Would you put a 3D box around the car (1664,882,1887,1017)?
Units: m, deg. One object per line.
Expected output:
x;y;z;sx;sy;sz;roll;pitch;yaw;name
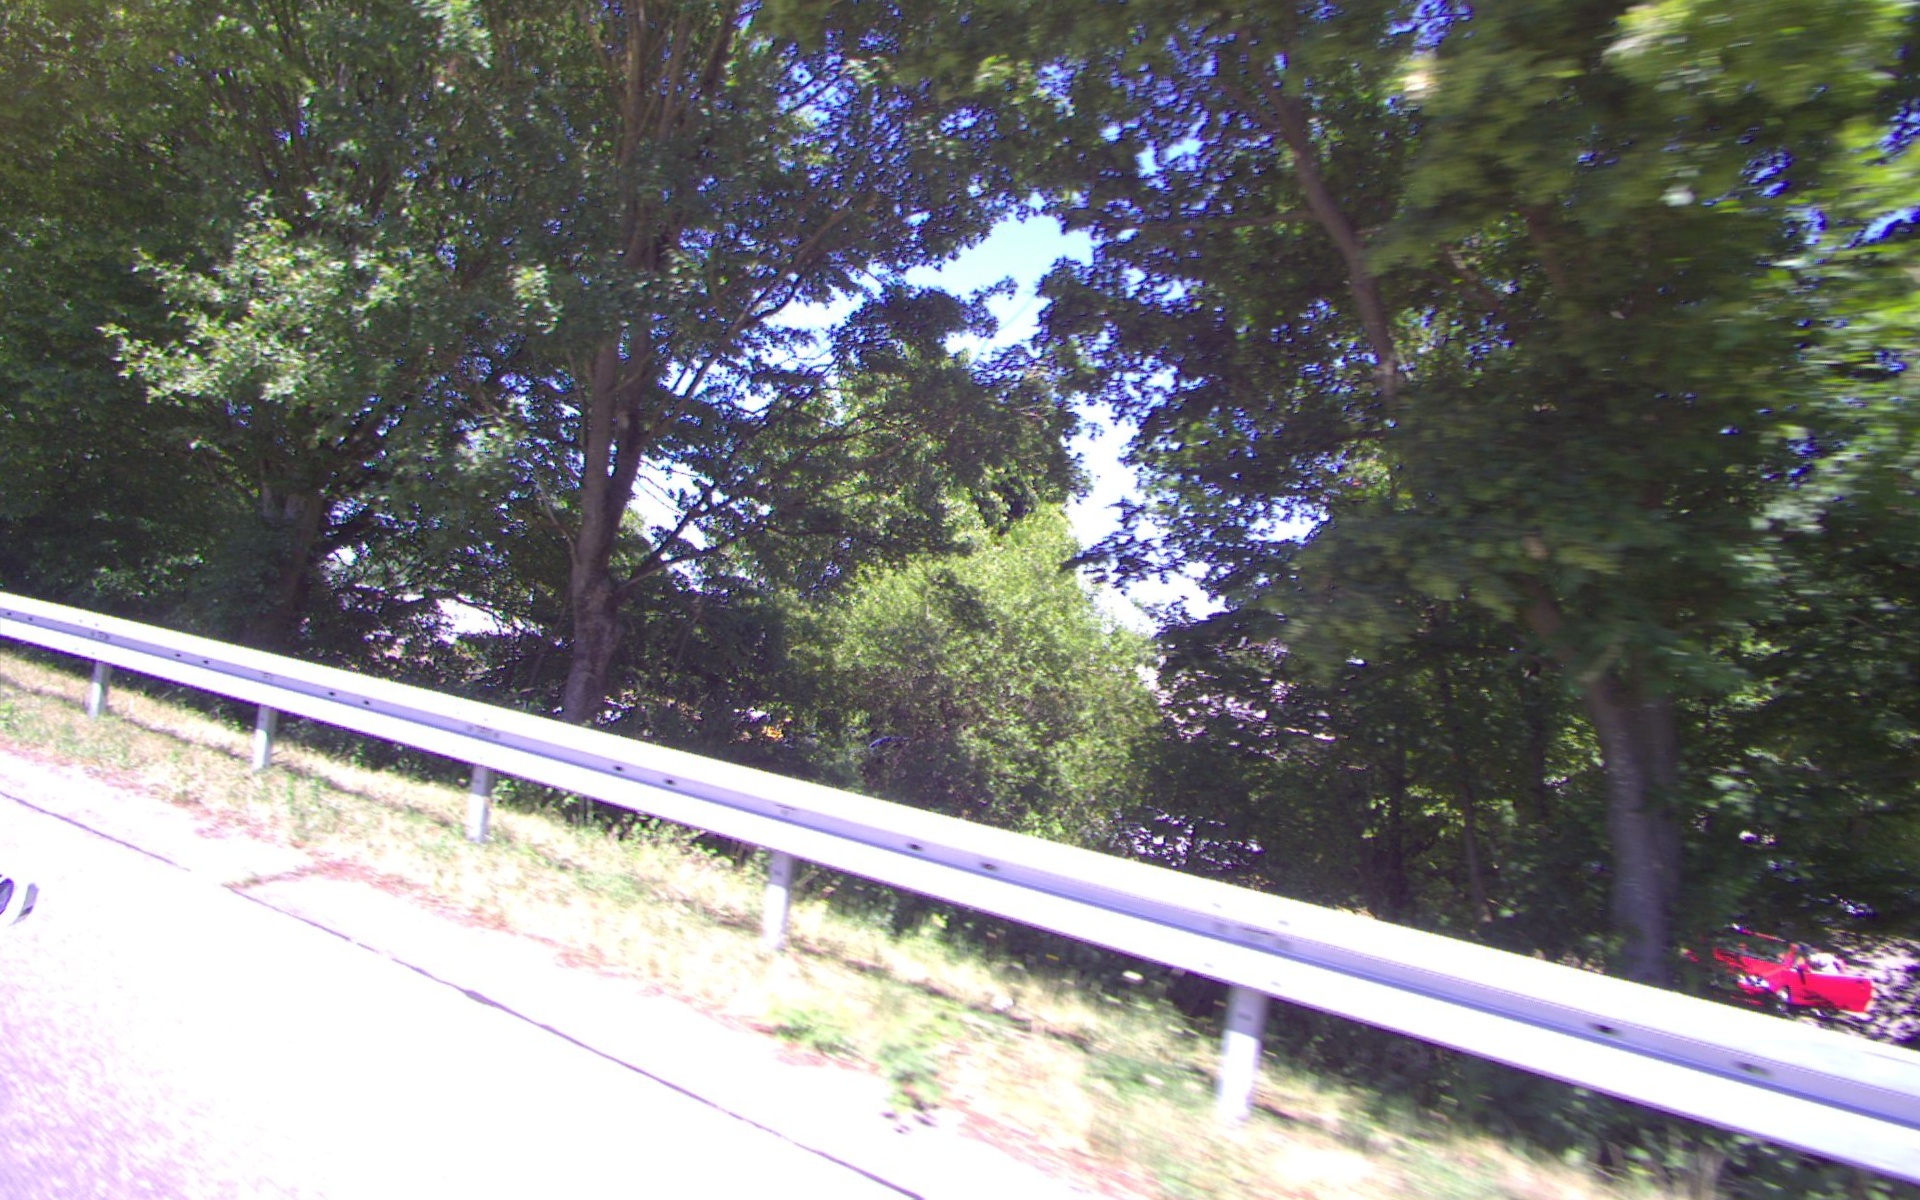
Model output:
16.990;7.229;20.960;3.954;2.036;1.988;10;-3;-26;car

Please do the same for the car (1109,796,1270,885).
6.265;6.516;27.325;3.968;1.869;1.982;10;-3;-35;car
